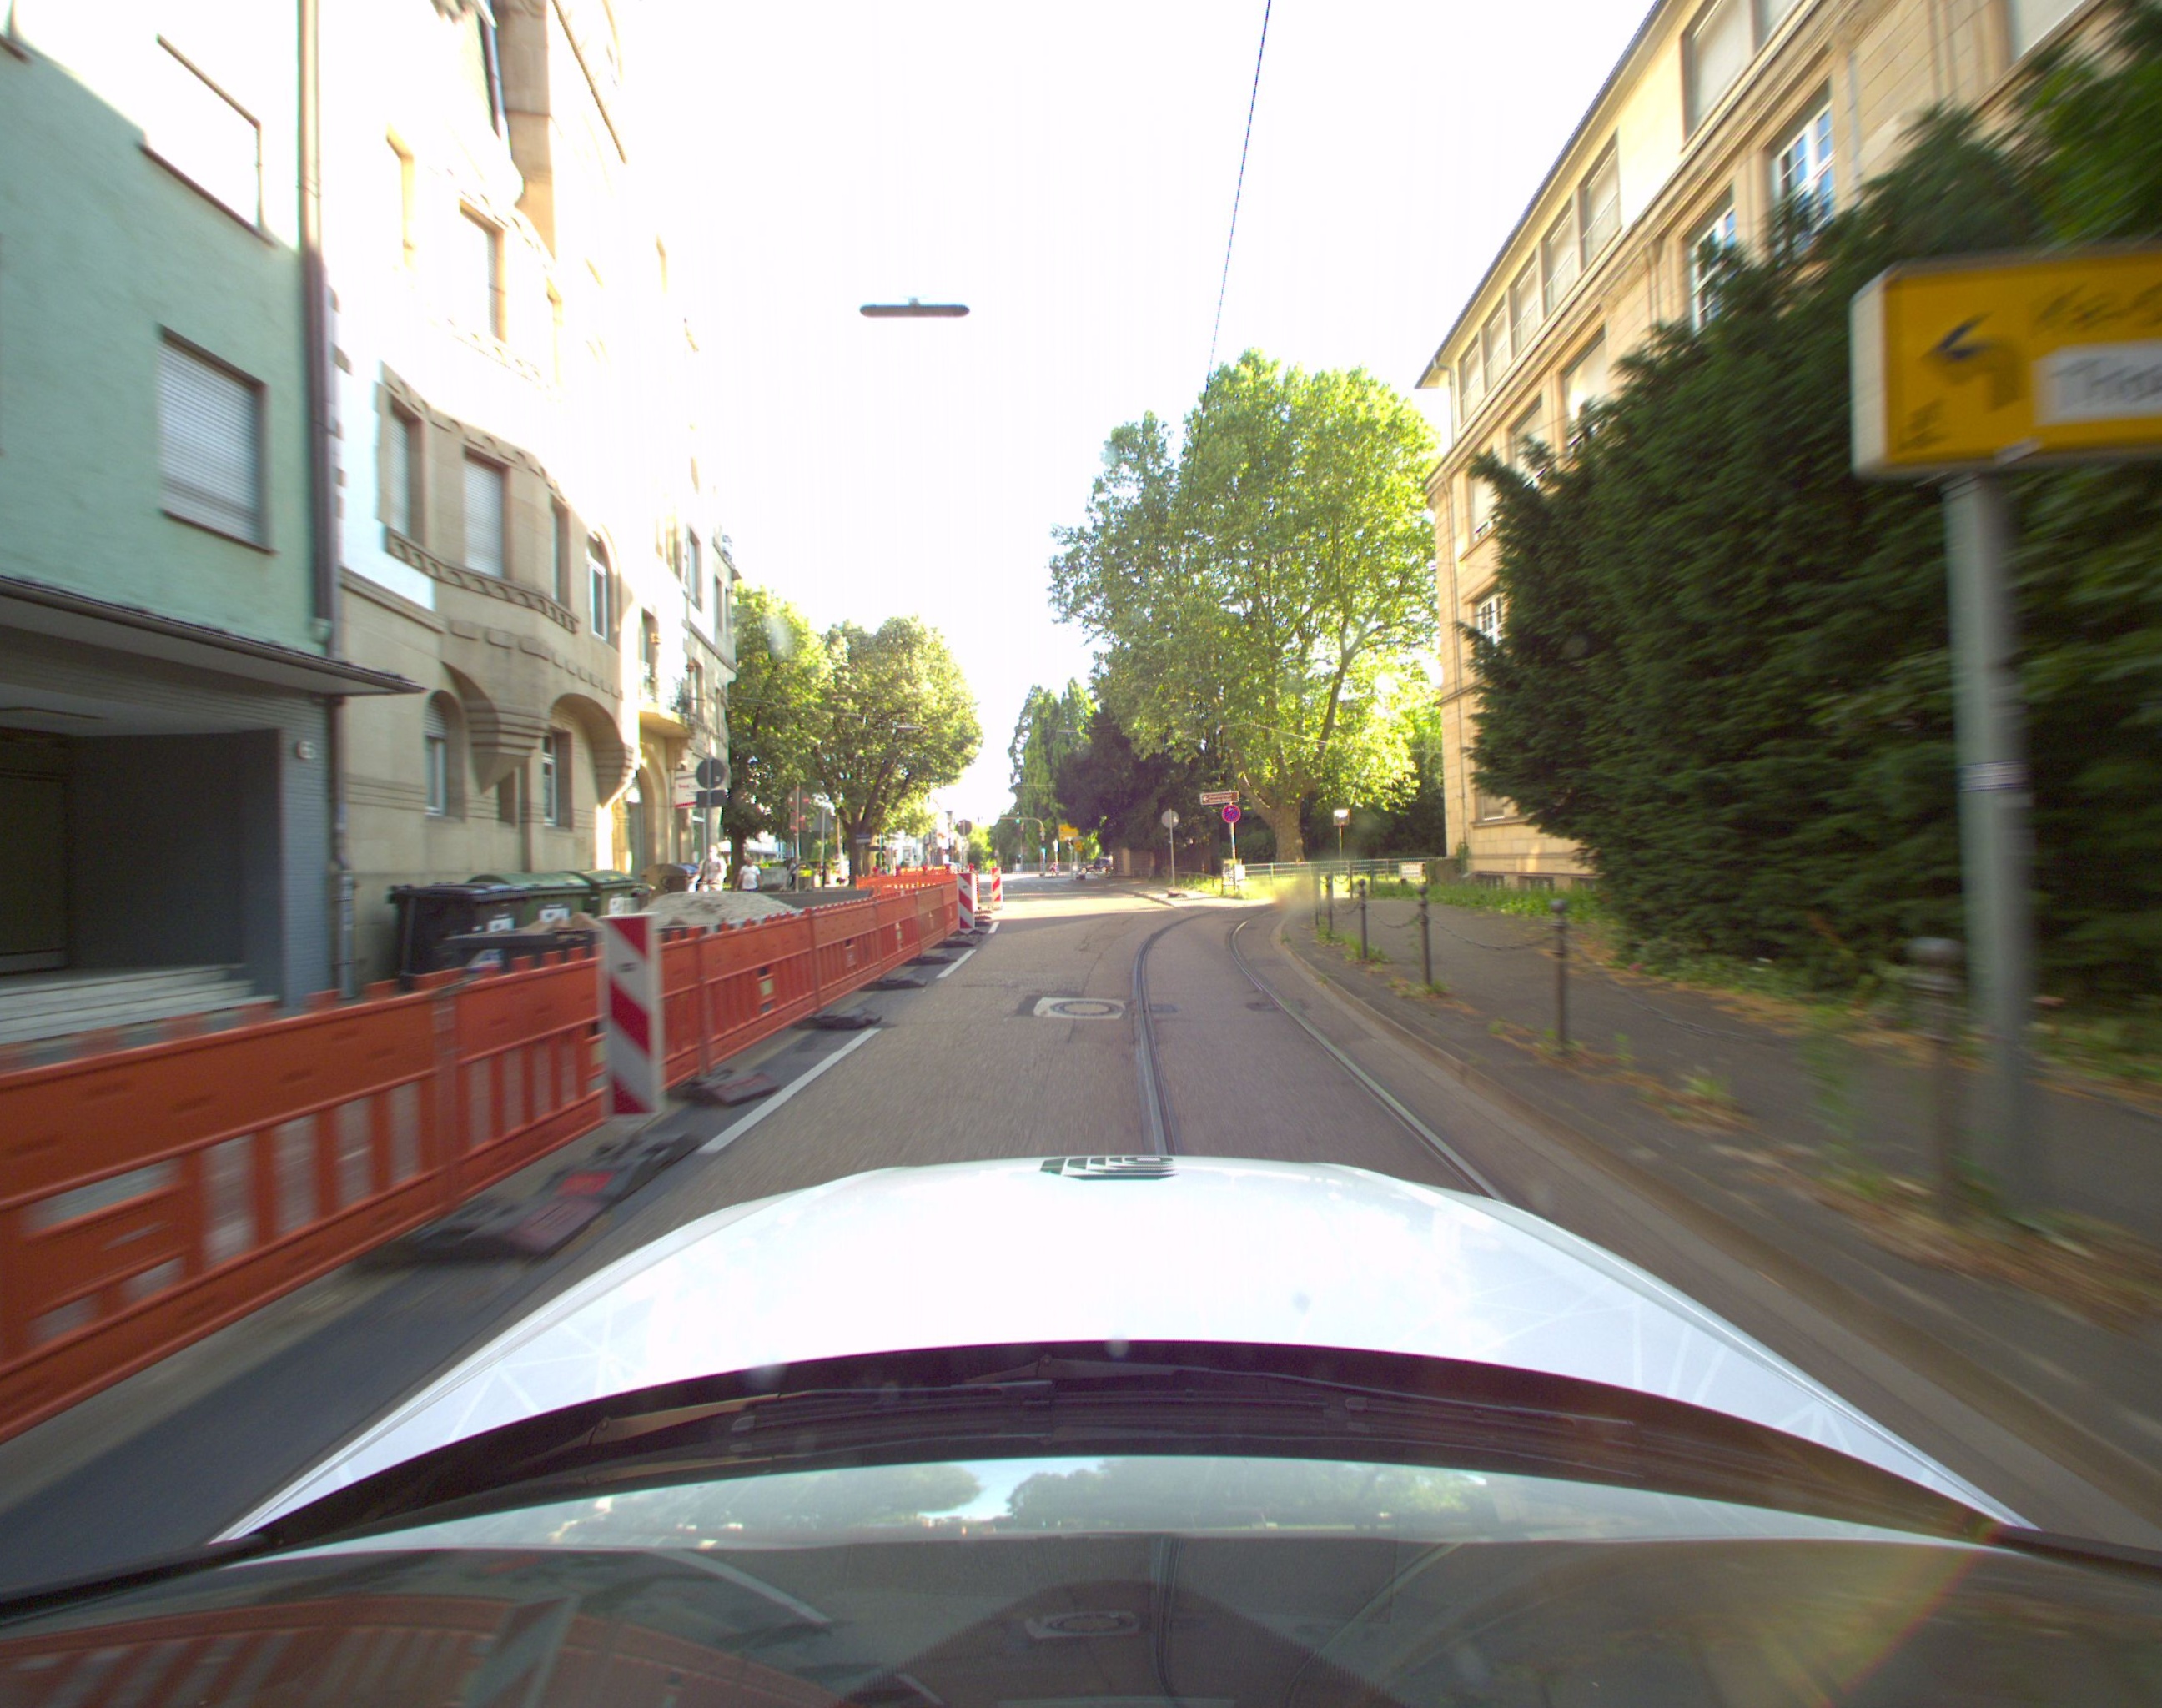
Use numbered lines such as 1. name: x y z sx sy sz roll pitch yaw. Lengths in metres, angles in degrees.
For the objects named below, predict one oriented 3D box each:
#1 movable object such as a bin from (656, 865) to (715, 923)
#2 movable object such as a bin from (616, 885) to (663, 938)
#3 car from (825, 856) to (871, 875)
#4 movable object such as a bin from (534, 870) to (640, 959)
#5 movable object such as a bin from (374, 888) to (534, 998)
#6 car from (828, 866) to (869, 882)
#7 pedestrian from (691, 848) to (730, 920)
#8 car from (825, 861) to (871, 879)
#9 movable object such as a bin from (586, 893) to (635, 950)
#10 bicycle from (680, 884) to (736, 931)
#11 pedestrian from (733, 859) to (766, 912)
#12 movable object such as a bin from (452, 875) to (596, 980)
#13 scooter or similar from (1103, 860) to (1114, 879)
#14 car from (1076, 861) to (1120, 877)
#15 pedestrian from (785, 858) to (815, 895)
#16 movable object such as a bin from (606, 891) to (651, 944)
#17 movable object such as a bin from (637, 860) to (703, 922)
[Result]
1. movable object such as a bin: -10.171 0.998 20.994 1.083 1.431 1.340 0 -1 -13
2. movable object such as a bin: -9.204 1.181 16.996 0.635 1.041 0.762 0 -1 -8
3. car: -25.491 1.253 89.113 4.670 1.965 2.109 0 -1 -12
4. movable object such as a bin: -8.505 1.003 14.117 1.081 1.431 1.404 0 -1 -7
5. movable object such as a bin: -8.051 1.107 10.549 1.081 1.264 1.332 0 -1 -6
6. car: -23.641 2.016 82.934 3.996 1.479 1.991 -1 -1 -14
7. pedestrian: -8.116 0.650 17.847 0.597 1.556 0.615 0 -1 -3
8. car: -24.588 1.665 86.086 4.309 1.852 1.995 0 -1 -7
9. movable object such as a bin: -9.071 1.291 15.710 0.635 1.041 0.586 0 -1 -8
10. bicycle: -8.103 1.142 17.741 0.598 0.932 1.472 0 0 -2
11. pedestrian: -10.124 0.944 24.878 0.822 1.603 0.912 0 -1 -16
12. movable object such as a bin: -8.207 1.045 12.074 1.076 1.431 1.410 -1 -1 8
13. scooter or similar: 1.811 1.040 53.616 0.437 1.202 1.256 -4 0 -6
14. car: 1.858 1.651 90.475 4.603 1.670 2.012 -2 -4 35
15. pedestrian: -13.871 1.111 40.168 1.040 1.781 1.191 -1 -1 -2
16. movable object such as a bin: -9.064 1.265 16.328 0.635 1.024 0.554 0 -1 -8
17. movable object such as a bin: -9.870 0.867 19.625 1.083 1.431 1.401 0 -1 -12
